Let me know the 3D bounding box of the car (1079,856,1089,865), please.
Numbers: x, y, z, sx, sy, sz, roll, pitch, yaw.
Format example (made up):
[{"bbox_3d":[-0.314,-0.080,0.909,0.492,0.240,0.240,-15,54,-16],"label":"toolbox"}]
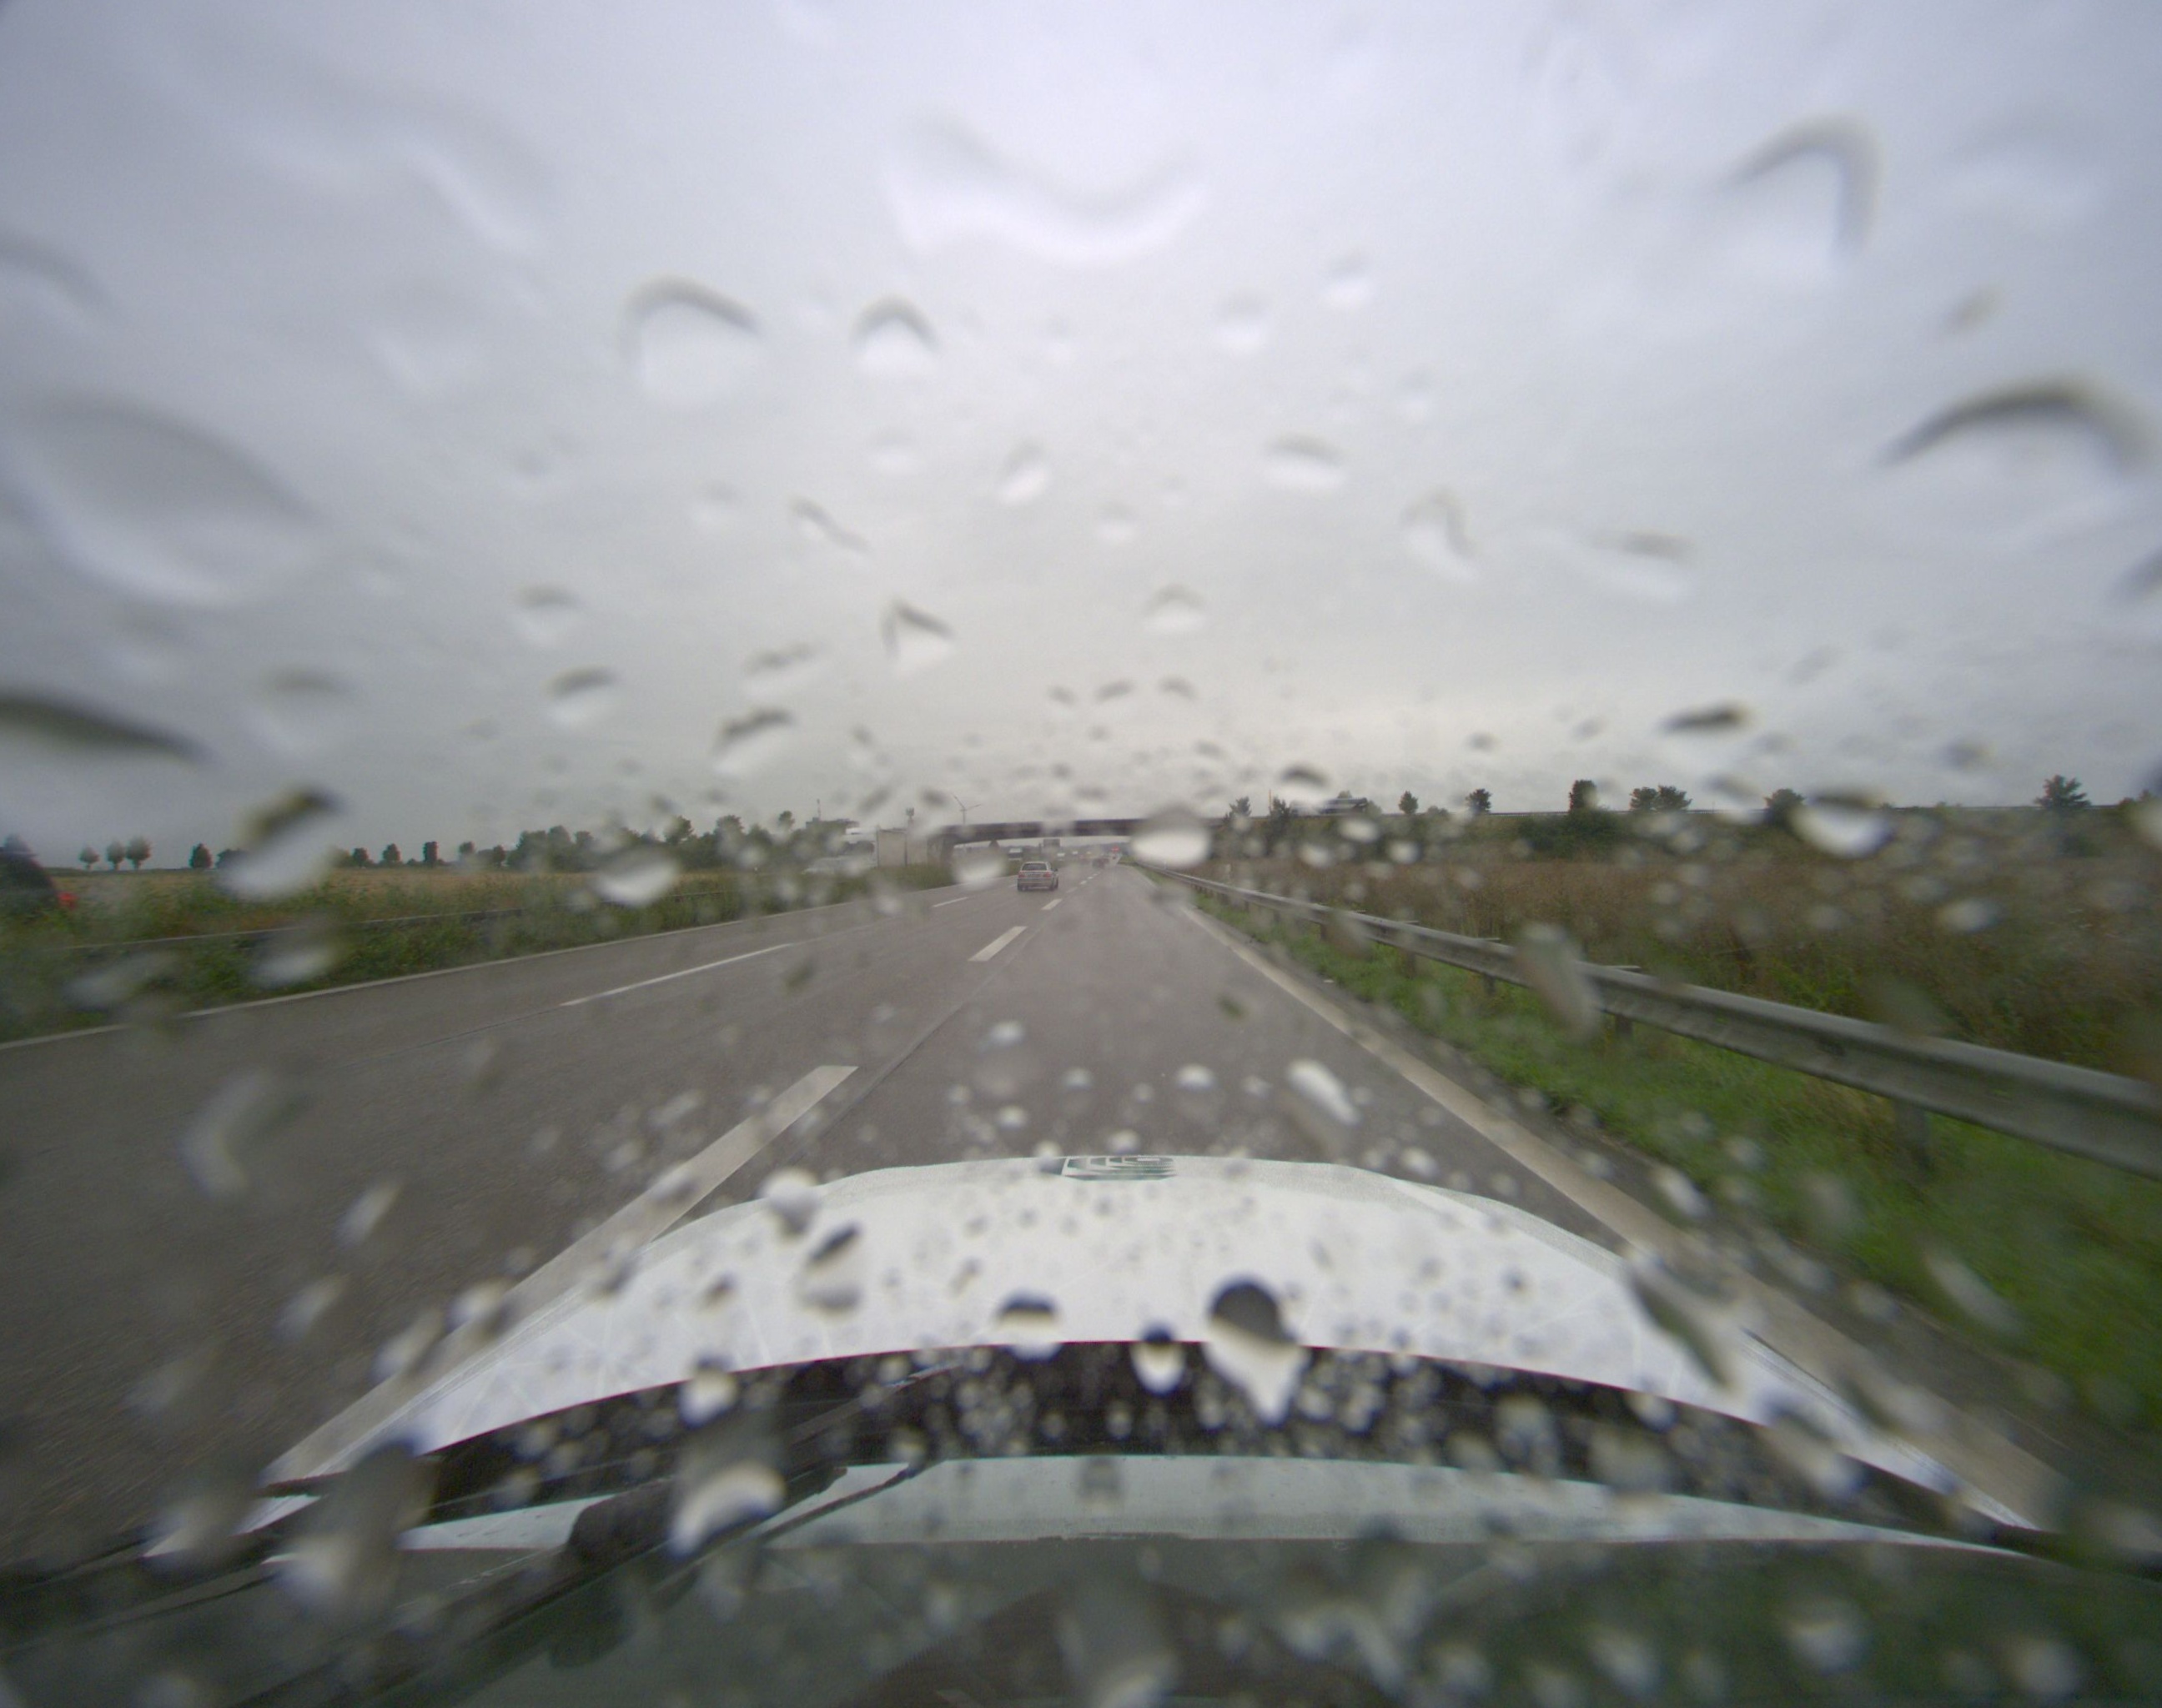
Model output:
[{"bbox_3d":[0.657,1.504,178.654,1.986,1.749,4.002,-3,2,2],"label":"car"}]

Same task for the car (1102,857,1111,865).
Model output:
[{"bbox_3d":[6.252,1.617,199.903,1.986,1.697,4.003,-3,2,2],"label":"car"}]

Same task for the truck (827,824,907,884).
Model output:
[{"bbox_3d":[-17.047,0.028,65.829,3.216,4.385,10.518,-2,0,2],"label":"truck"}]

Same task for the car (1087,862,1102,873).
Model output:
[{"bbox_3d":[2.087,2.002,121.001,2.137,1.636,4.597,0,-1,2],"label":"car"}]

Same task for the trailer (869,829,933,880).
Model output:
[{"bbox_3d":[-16.658,0.085,76.346,3.216,4.385,10.518,-2,0,2],"label":"trailer"}]

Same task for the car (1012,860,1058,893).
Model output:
[{"bbox_3d":[-2.221,1.070,40.595,1.867,1.488,4.796,-1,-1,1],"label":"car"}]

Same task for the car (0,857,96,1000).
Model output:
[{"bbox_3d":[-15.318,0.998,9.399,2.097,1.875,4.701,-1,0,2],"label":"car"}]
